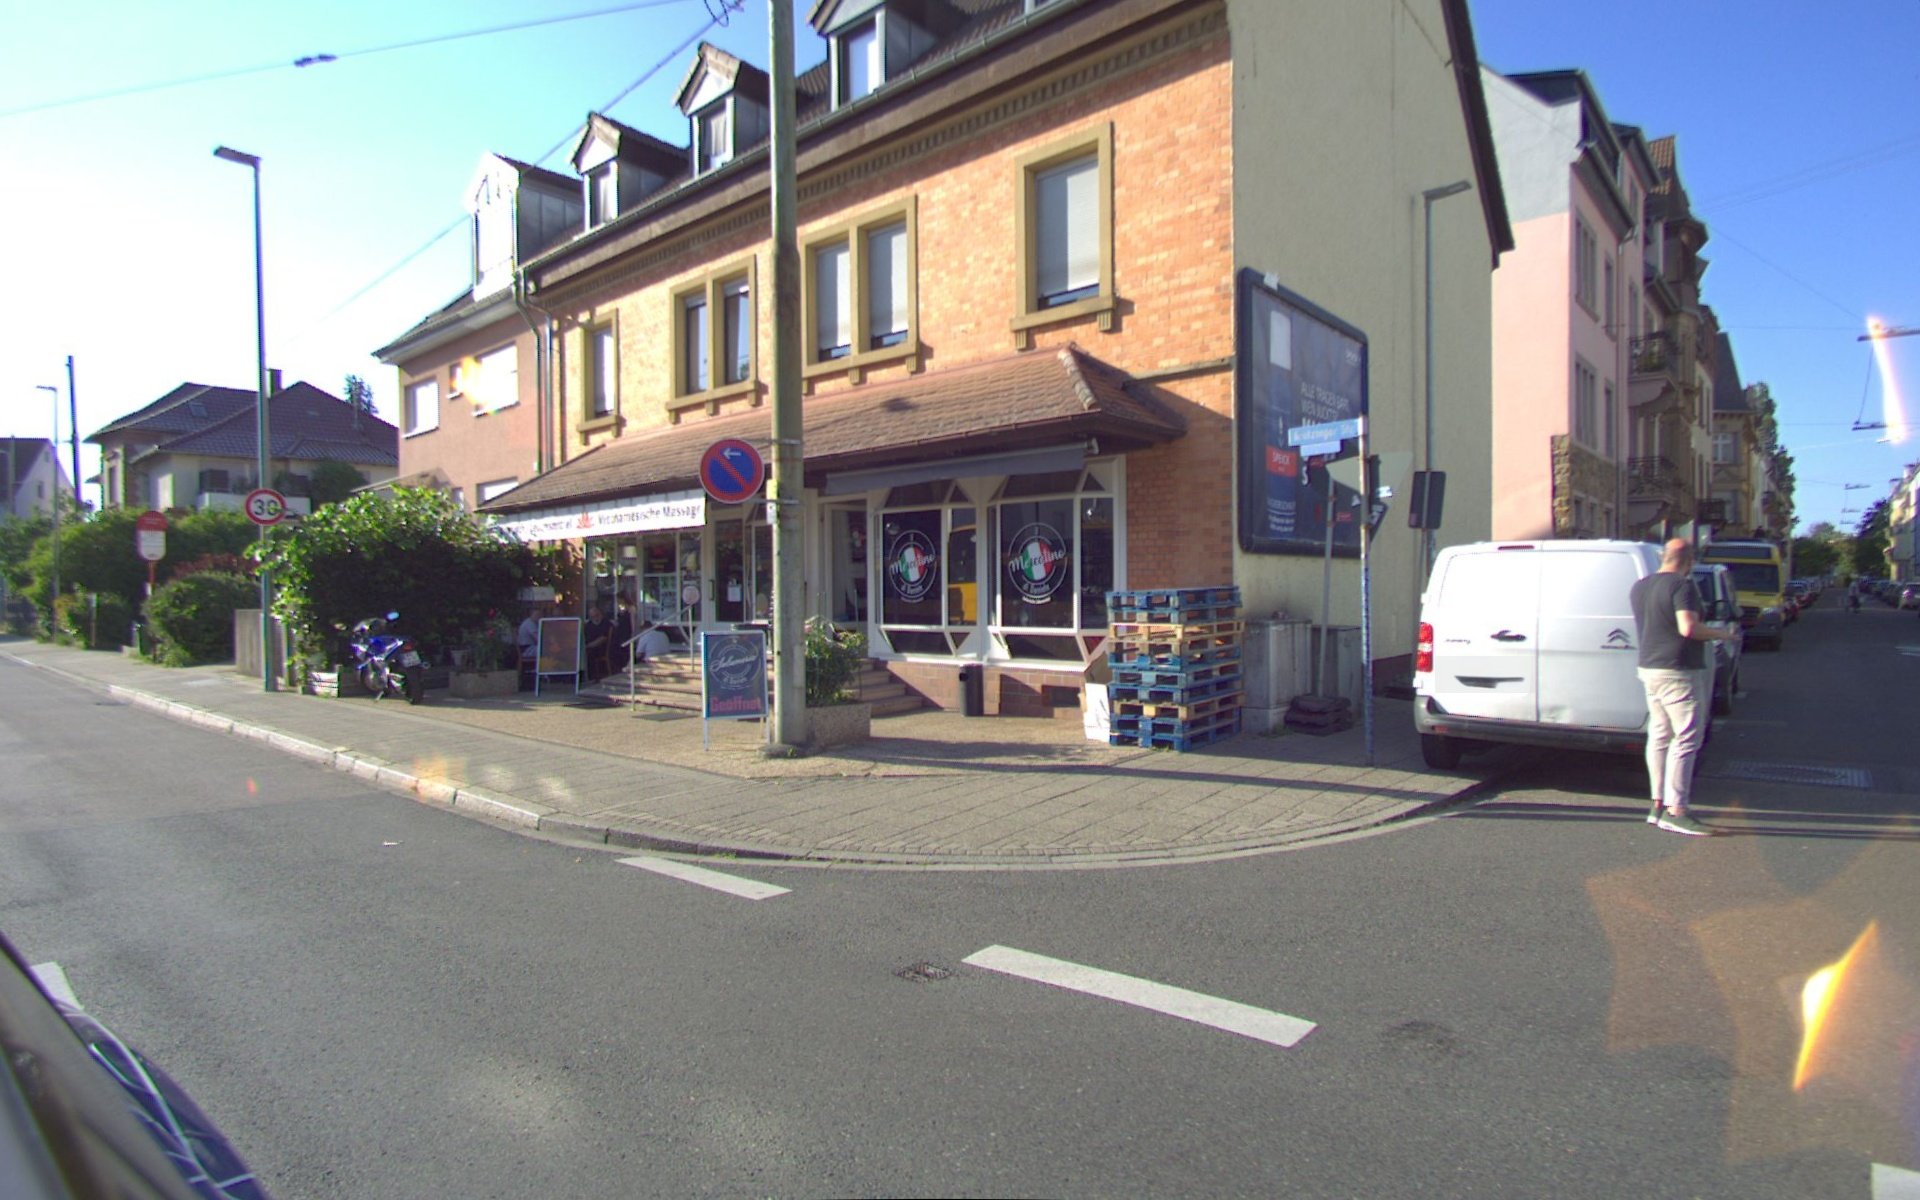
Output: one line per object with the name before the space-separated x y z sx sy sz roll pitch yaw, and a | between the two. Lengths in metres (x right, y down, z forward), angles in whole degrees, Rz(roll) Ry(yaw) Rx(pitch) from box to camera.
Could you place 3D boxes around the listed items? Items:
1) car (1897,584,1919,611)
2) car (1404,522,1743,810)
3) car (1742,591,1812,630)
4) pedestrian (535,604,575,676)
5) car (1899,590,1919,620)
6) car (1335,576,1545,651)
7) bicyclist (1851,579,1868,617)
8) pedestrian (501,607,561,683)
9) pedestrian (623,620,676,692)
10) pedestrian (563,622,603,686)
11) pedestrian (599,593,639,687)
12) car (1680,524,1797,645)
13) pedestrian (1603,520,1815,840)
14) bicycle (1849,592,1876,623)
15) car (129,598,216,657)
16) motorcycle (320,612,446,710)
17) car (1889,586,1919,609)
car | 61.536 -0.164 64.886 2.000 1.625 3.945 5 4 42
car | 5.793 0.441 9.253 1.998 1.947 4.568 -1 0 40
car | 34.062 0.381 42.167 2.000 1.419 3.945 5 4 42
pedestrian | -7.317 0.708 18.294 0.465 1.268 0.517 -1 0 43
car | 54.180 0.294 56.810 2.000 1.625 3.945 5 4 42
car | 11.227 0.254 23.851 1.971 1.419 4.003 -1 4 -45
bicyclist | 42.817 -0.096 48.178 0.559 1.780 0.575 -1 0 38
pedestrian | -7.308 0.751 17.222 0.667 1.253 0.736 -1 0 45
pedestrian | -4.979 0.883 16.230 0.632 1.118 0.557 -1 0 43
pedestrian | -6.453 0.916 17.337 0.382 1.055 0.520 -1 0 25
pedestrian | -5.797 0.669 17.209 0.503 1.572 0.459 0 0 43
car | 20.113 -0.365 26.031 2.136 2.747 6.046 -1 0 40
pedestrian | 4.796 0.468 6.504 0.781 1.882 0.822 -1 0 -30
bicycle | 42.720 0.330 47.921 0.824 1.425 2.332 -1 0 40
car | -27.123 0.935 34.822 3.672 1.828 1.682 -1 -6 44
motorcycle | -8.447 0.843 14.781 2.230 1.292 0.831 0 1 39
car | 69.718 -0.192 74.385 2.000 1.625 3.945 5 4 42
